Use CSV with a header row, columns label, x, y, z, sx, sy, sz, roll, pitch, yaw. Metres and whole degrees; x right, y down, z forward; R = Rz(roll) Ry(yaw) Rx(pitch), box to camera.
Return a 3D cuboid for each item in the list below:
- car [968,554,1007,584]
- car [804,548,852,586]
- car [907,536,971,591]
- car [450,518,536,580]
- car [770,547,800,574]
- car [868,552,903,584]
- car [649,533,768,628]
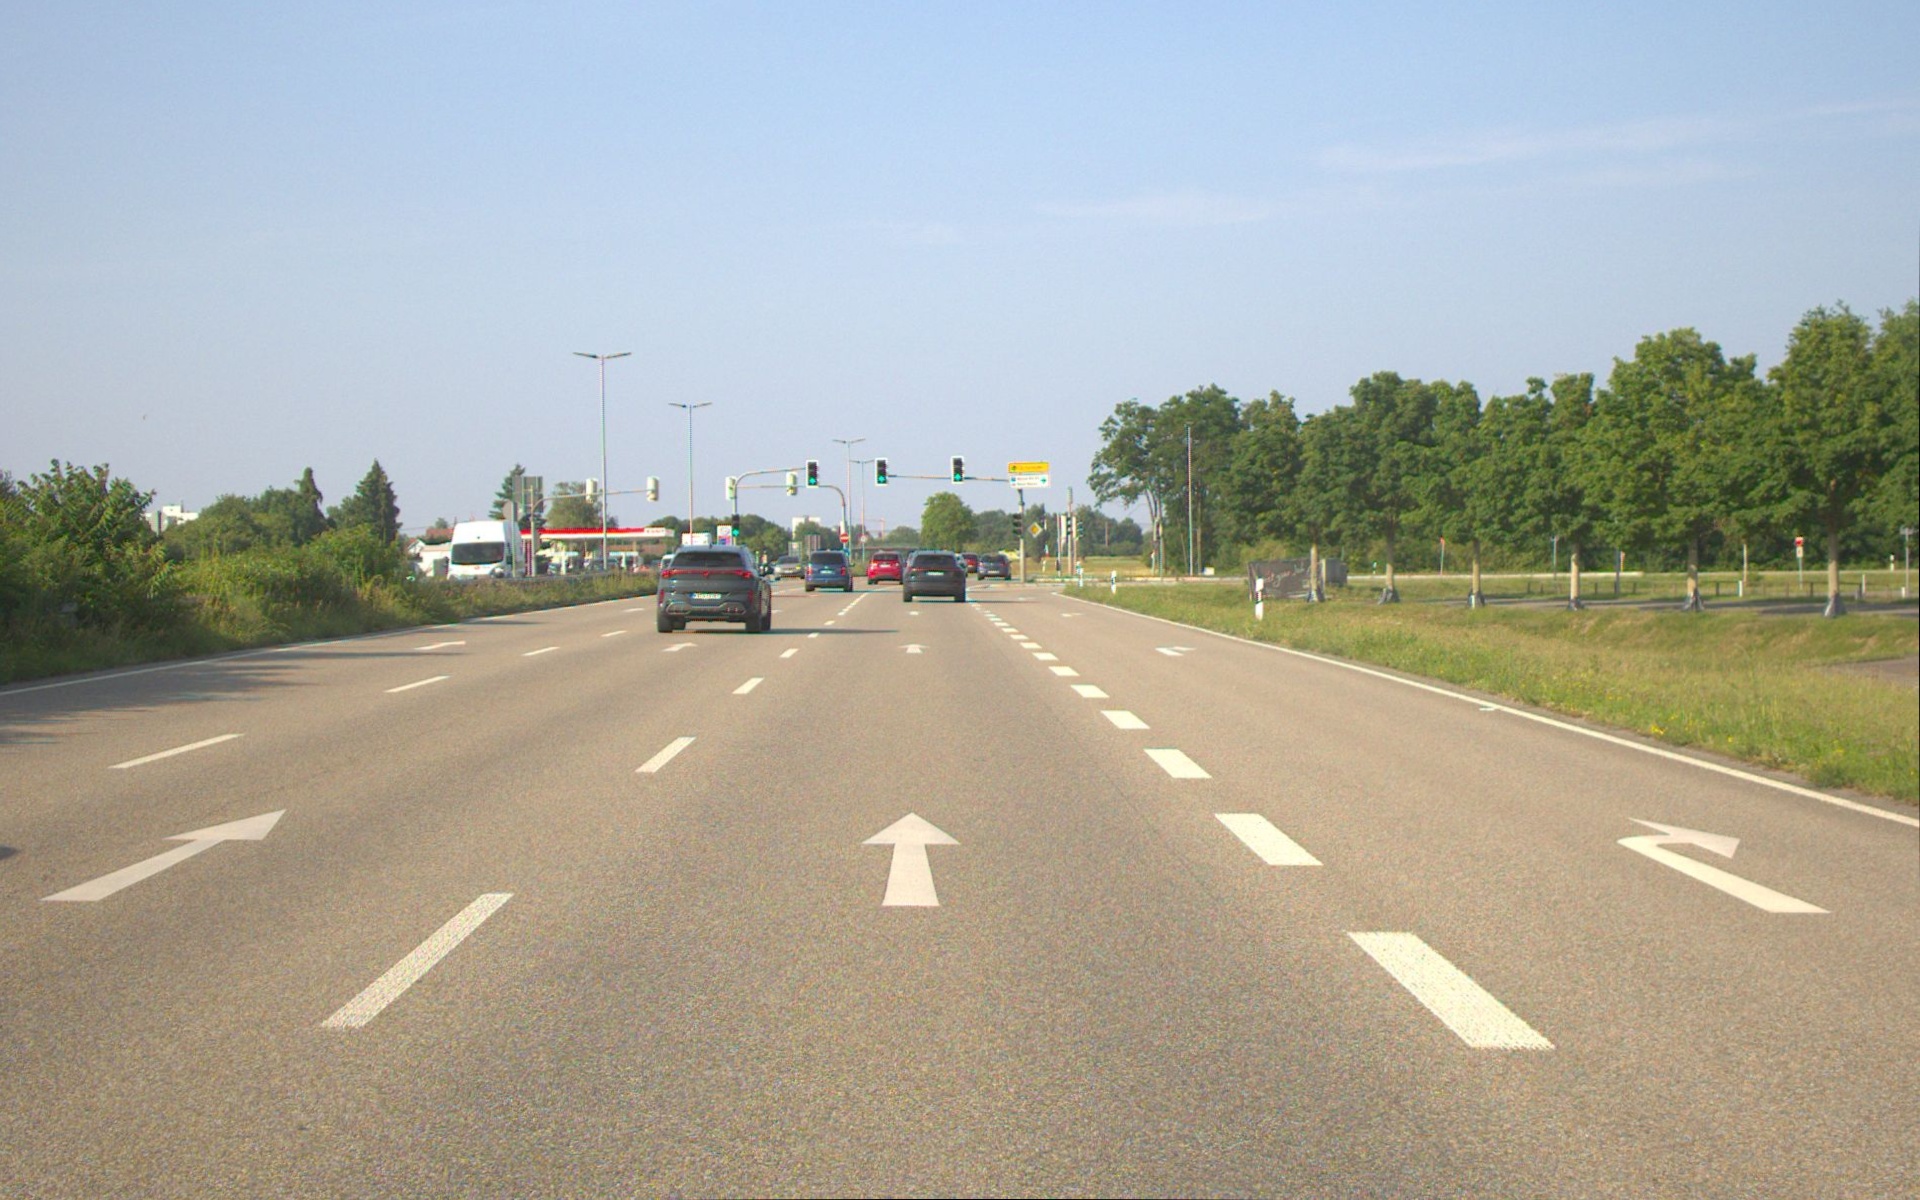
label,x,y,z,sx,sy,sz,roll,pitch,yaw
car,1.506,-1.698,190.167,1.946,1.630,3.448,1,0,-2
car,-5.313,-1.357,138.839,1.812,1.458,4.401,2,1,-1
car,-0.682,-1.181,109.254,1.932,1.674,4.401,2,1,-1
car,-15.792,-1.699,116.584,2.161,2.028,6.323,1,0,-1
car,-10.498,-2.358,206.103,1.600,1.527,4.000,2,1,-1
car,-3.635,-1.585,168.489,1.647,1.458,3.981,2,1,-1
car,-4.517,-0.386,62.333,1.845,1.606,4.401,2,1,-1
